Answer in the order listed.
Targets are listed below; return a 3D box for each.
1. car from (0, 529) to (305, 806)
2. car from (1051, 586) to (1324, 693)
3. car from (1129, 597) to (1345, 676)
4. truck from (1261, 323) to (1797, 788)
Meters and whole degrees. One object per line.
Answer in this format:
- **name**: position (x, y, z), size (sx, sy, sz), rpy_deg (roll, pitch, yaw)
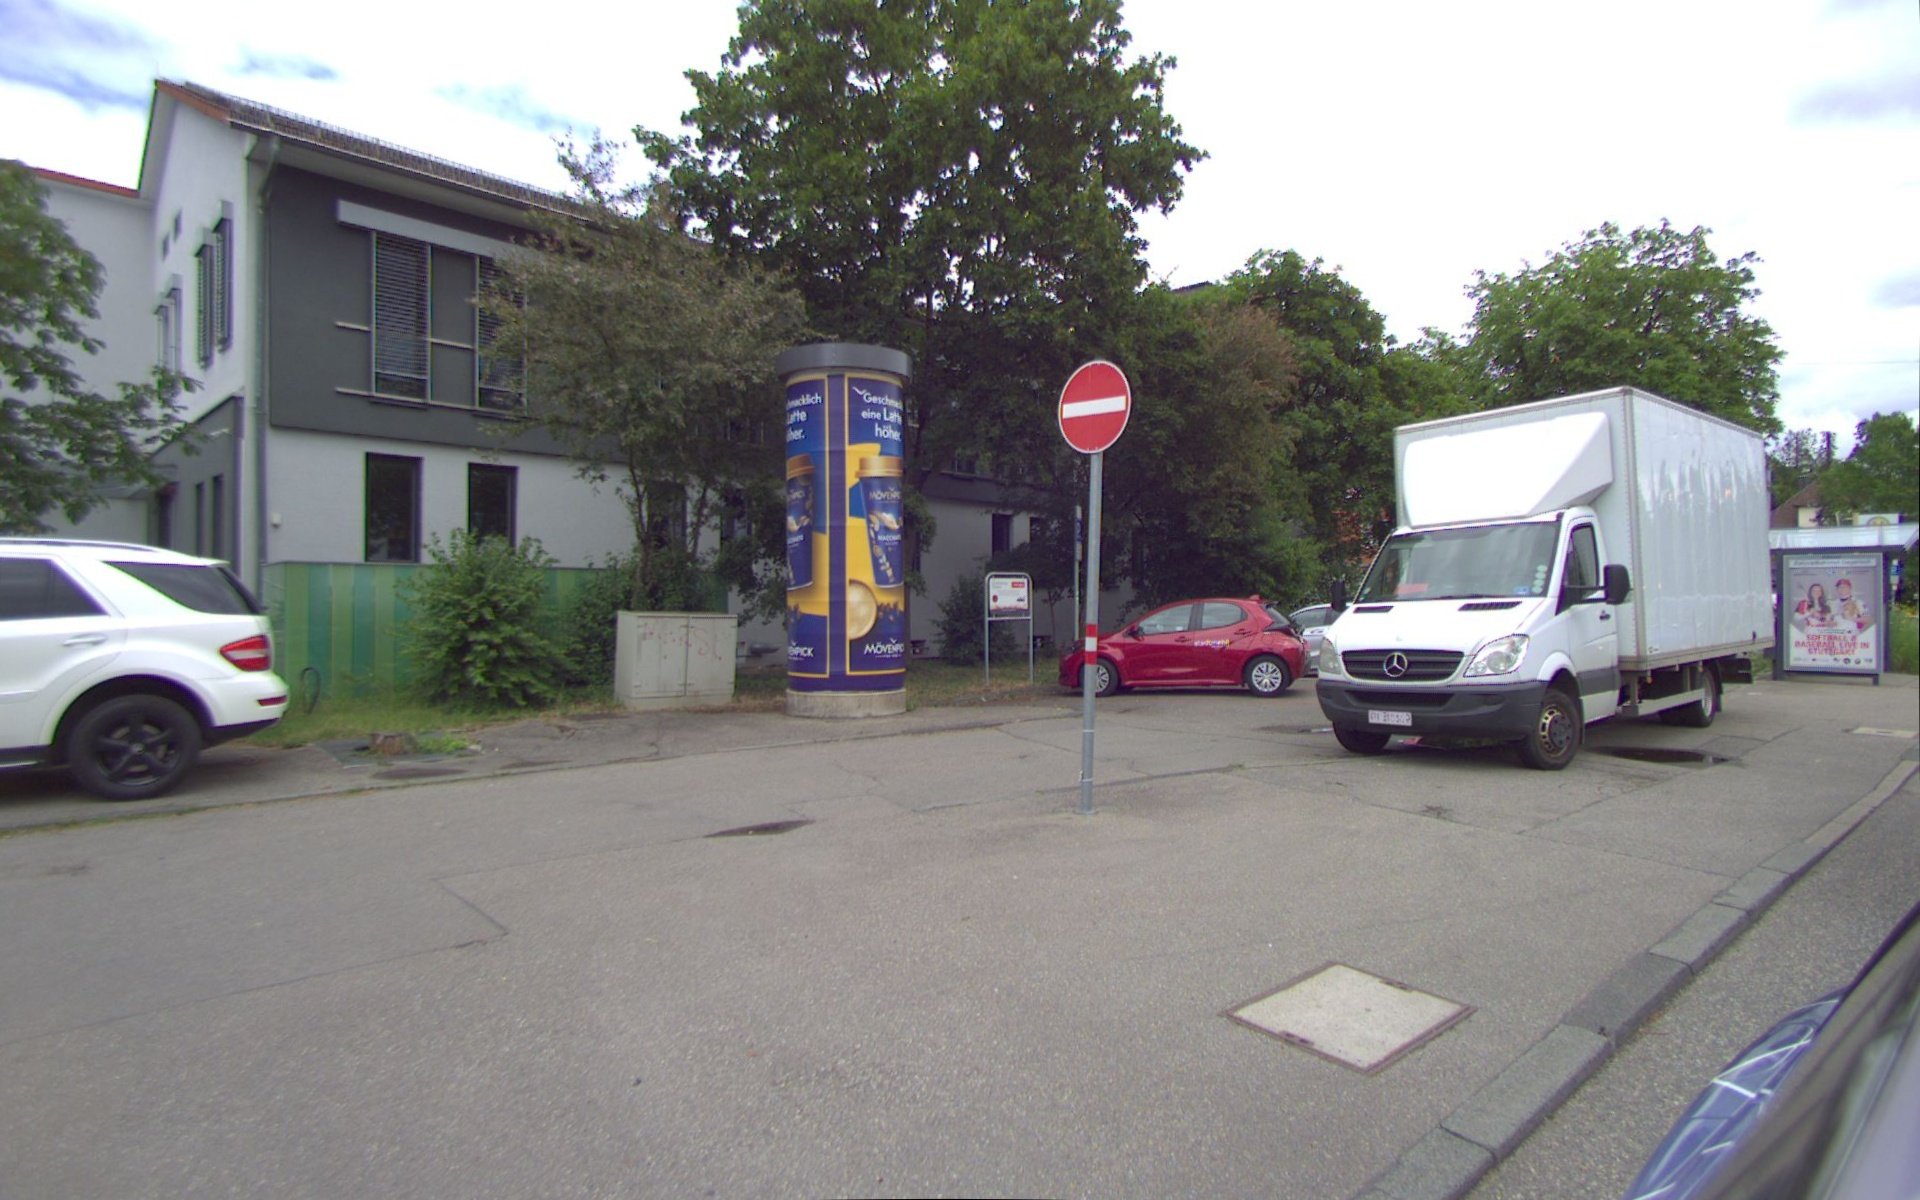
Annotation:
- **car**: position (-7.259, 0.433, 6.764), size (4.640, 1.780, 1.855), rpy_deg (0, 0, -41)
- **car**: position (3.535, 0.616, 15.776), size (3.856, 1.502, 1.669), rpy_deg (-2, -1, 25)
- **car**: position (5.462, 0.717, 20.115), size (3.946, 1.428, 1.516), rpy_deg (-2, -1, 18)
- **truck**: position (6.571, -0.391, 10.990), size (7.638, 3.469, 2.540), rpy_deg (-1, 0, -40)
